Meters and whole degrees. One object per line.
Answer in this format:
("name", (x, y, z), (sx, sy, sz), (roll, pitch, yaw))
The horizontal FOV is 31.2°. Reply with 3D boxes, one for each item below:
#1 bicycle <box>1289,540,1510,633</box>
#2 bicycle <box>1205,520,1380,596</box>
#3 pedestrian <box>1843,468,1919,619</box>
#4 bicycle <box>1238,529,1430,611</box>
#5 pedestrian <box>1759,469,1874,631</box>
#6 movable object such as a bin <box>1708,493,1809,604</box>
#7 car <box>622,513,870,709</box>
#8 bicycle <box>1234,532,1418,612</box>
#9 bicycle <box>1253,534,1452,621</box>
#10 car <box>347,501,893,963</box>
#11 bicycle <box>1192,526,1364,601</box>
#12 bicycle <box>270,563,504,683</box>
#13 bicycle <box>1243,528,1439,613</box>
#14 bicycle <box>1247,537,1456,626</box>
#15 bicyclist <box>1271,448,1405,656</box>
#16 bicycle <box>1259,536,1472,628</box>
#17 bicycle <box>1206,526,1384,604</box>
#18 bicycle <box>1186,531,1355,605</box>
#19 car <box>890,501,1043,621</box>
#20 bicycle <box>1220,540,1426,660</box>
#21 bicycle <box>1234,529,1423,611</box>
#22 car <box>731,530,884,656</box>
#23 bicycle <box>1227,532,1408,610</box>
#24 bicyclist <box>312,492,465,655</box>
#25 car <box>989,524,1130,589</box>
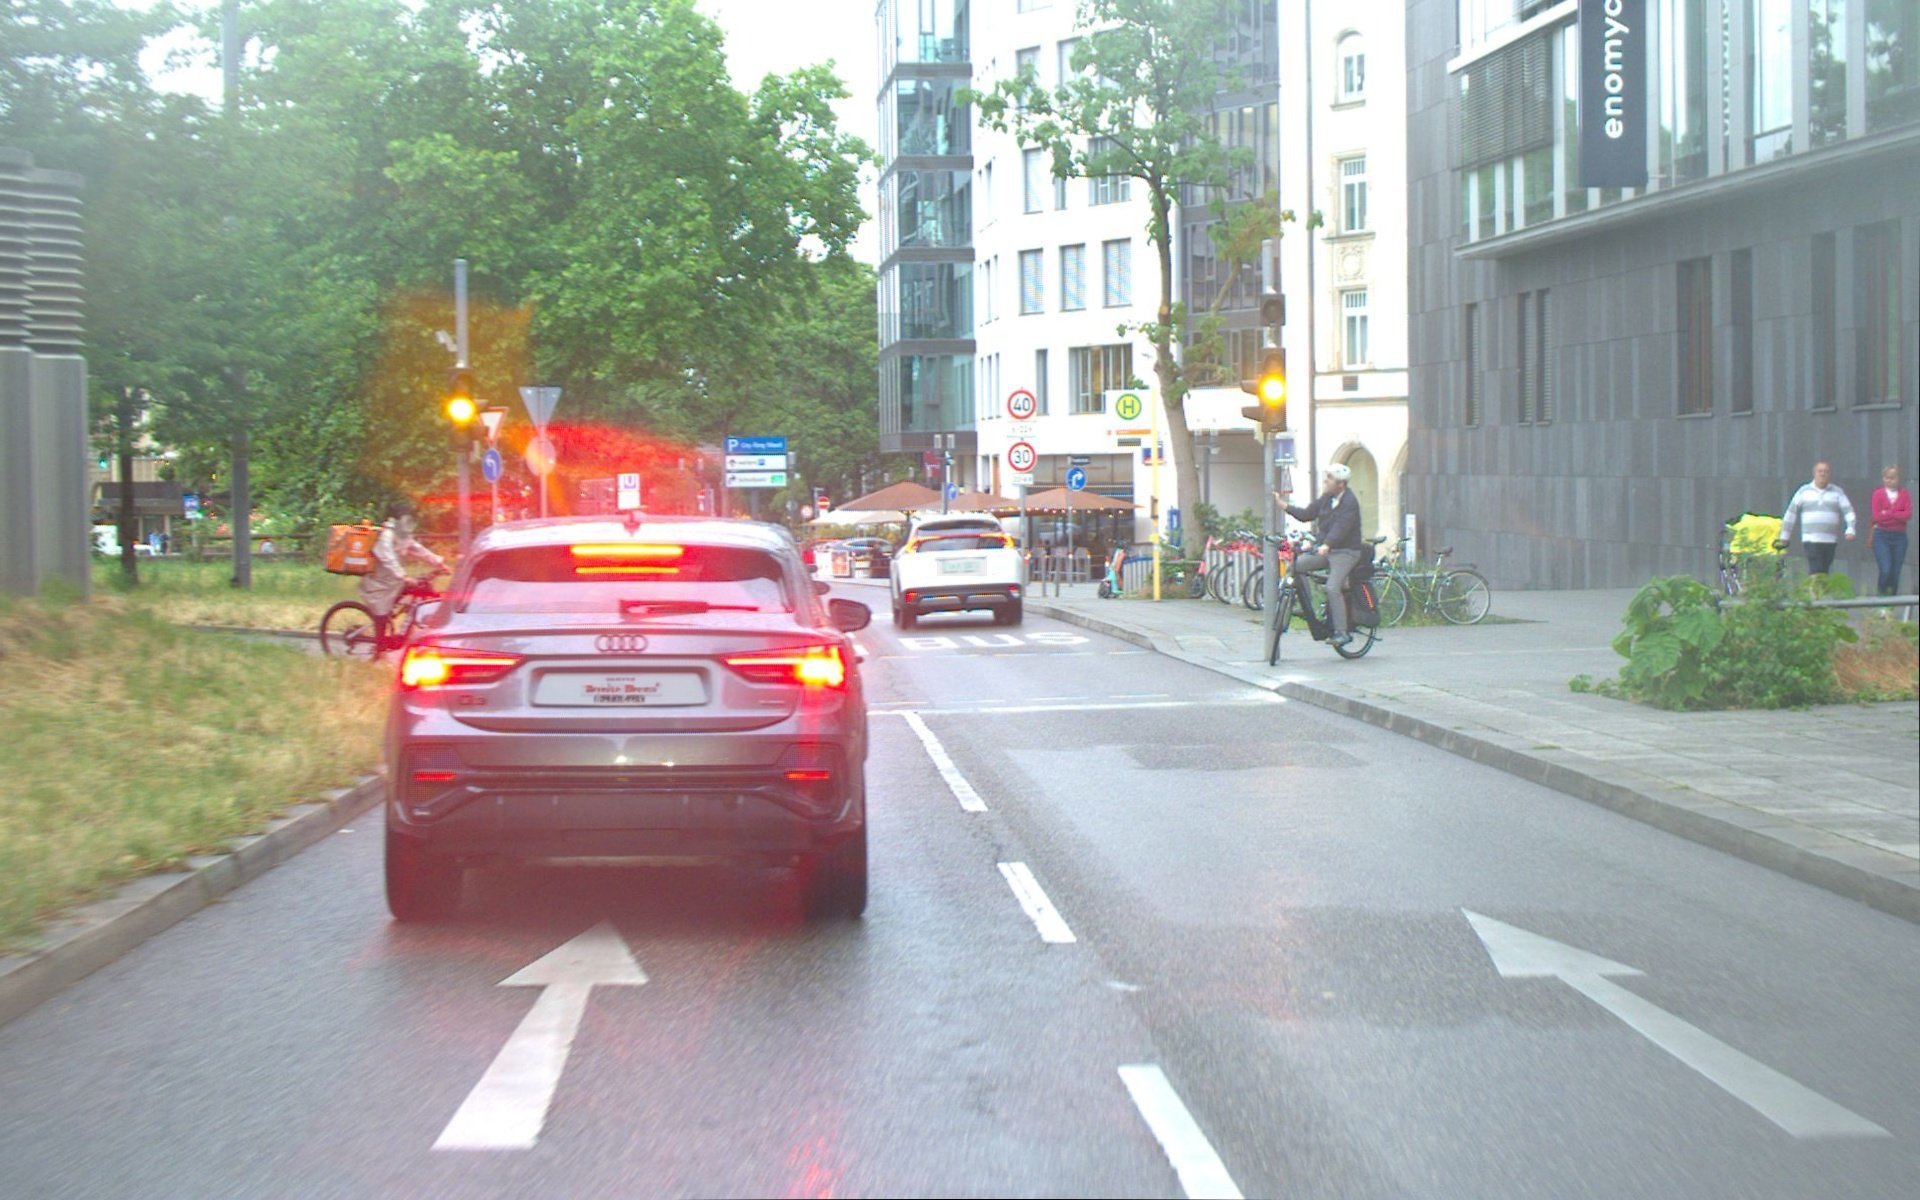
("bicycle", (5.288, -0.171, 41.379), (2.535, 1.053, 0.677), (-1, 1, -4))
("bicycle", (5.028, -0.637, 52.089), (2.535, 1.083, 0.677), (-1, 1, -4))
("pedestrian", (10.747, -0.662, 39.567), (0.718, 1.684, 1.100), (-3, 1, -5))
("bicycle", (5.153, -0.417, 47.416), (2.535, 1.056, 0.677), (-1, 1, -4))
("pedestrian", (9.794, -0.574, 39.344), (0.900, 1.785, 1.047), (-3, 1, -5))
("movable object such as a bin", (9.454, -0.620, 40.736), (0.731, 1.259, 1.445), (-3, 2, -3))
("car", (-2.018, 0.046, 32.412), (2.162, 1.700, 4.554), (0, 1, -4))
("bicycle", (5.264, -0.412, 49.521), (2.535, 1.083, 0.677), (-1, 1, -4))
("bicycle", (5.216, -0.303, 45.740), (2.535, 1.083, 0.677), (-1, 1, -4))
("car", (-1.234, 0.404, 14.200), (1.848, 1.610, 4.253), (0, 2, 0))
("bicycle", (4.901, -0.564, 52.980), (2.535, 1.083, 0.677), (-1, 1, -4))
("bicycle", (-5.772, 0.218, 34.655), (2.062, 1.110, 1.011), (2, 1, 19))
("bicycle", (5.152, -0.402, 46.549), (2.535, 1.083, 0.677), (-1, 1, -4))
("bicycle", (4.970, -0.239, 43.661), (2.535, 1.083, 0.677), (1, 1, -4))
("bicyclist", (3.847, -0.494, 34.970), (1.082, 2.076, 0.763), (-2, 1, -39))
("bicycle", (5.051, -0.228, 42.857), (2.535, 1.083, 0.677), (-1, 1, -4))
("bicycle", (5.000, -0.526, 51.339), (2.535, 1.083, 0.677), (-1, 1, -4))
("bicycle", (4.851, -0.507, 53.729), (2.535, 1.083, 0.677), (-1, 1, -4))
("car", (0.123, -0.603, 51.171), (2.179, 1.695, 4.000), (0, 1, 1))
("bicycle", (3.691, -0.010, 34.833), (2.127, 1.141, 0.763), (-2, 1, -39))
("bicycle", (5.177, -0.431, 48.324), (2.535, 1.083, 0.677), (-1, 1, -4))
("car", (-2.056, -0.137, 47.460), (1.945, 1.641, 4.245), (0, 1, 0))
("bicycle", (5.247, -0.433, 50.499), (2.535, 1.083, 0.677), (-1, 1, -4))
("bicyclist", (-5.752, -0.269, 34.655), (1.133, 1.577, 1.014), (2, 1, 19))
("car", (2.914, -1.290, 101.579), (3.987, 1.641, 2.000), (3, 1, 0))
